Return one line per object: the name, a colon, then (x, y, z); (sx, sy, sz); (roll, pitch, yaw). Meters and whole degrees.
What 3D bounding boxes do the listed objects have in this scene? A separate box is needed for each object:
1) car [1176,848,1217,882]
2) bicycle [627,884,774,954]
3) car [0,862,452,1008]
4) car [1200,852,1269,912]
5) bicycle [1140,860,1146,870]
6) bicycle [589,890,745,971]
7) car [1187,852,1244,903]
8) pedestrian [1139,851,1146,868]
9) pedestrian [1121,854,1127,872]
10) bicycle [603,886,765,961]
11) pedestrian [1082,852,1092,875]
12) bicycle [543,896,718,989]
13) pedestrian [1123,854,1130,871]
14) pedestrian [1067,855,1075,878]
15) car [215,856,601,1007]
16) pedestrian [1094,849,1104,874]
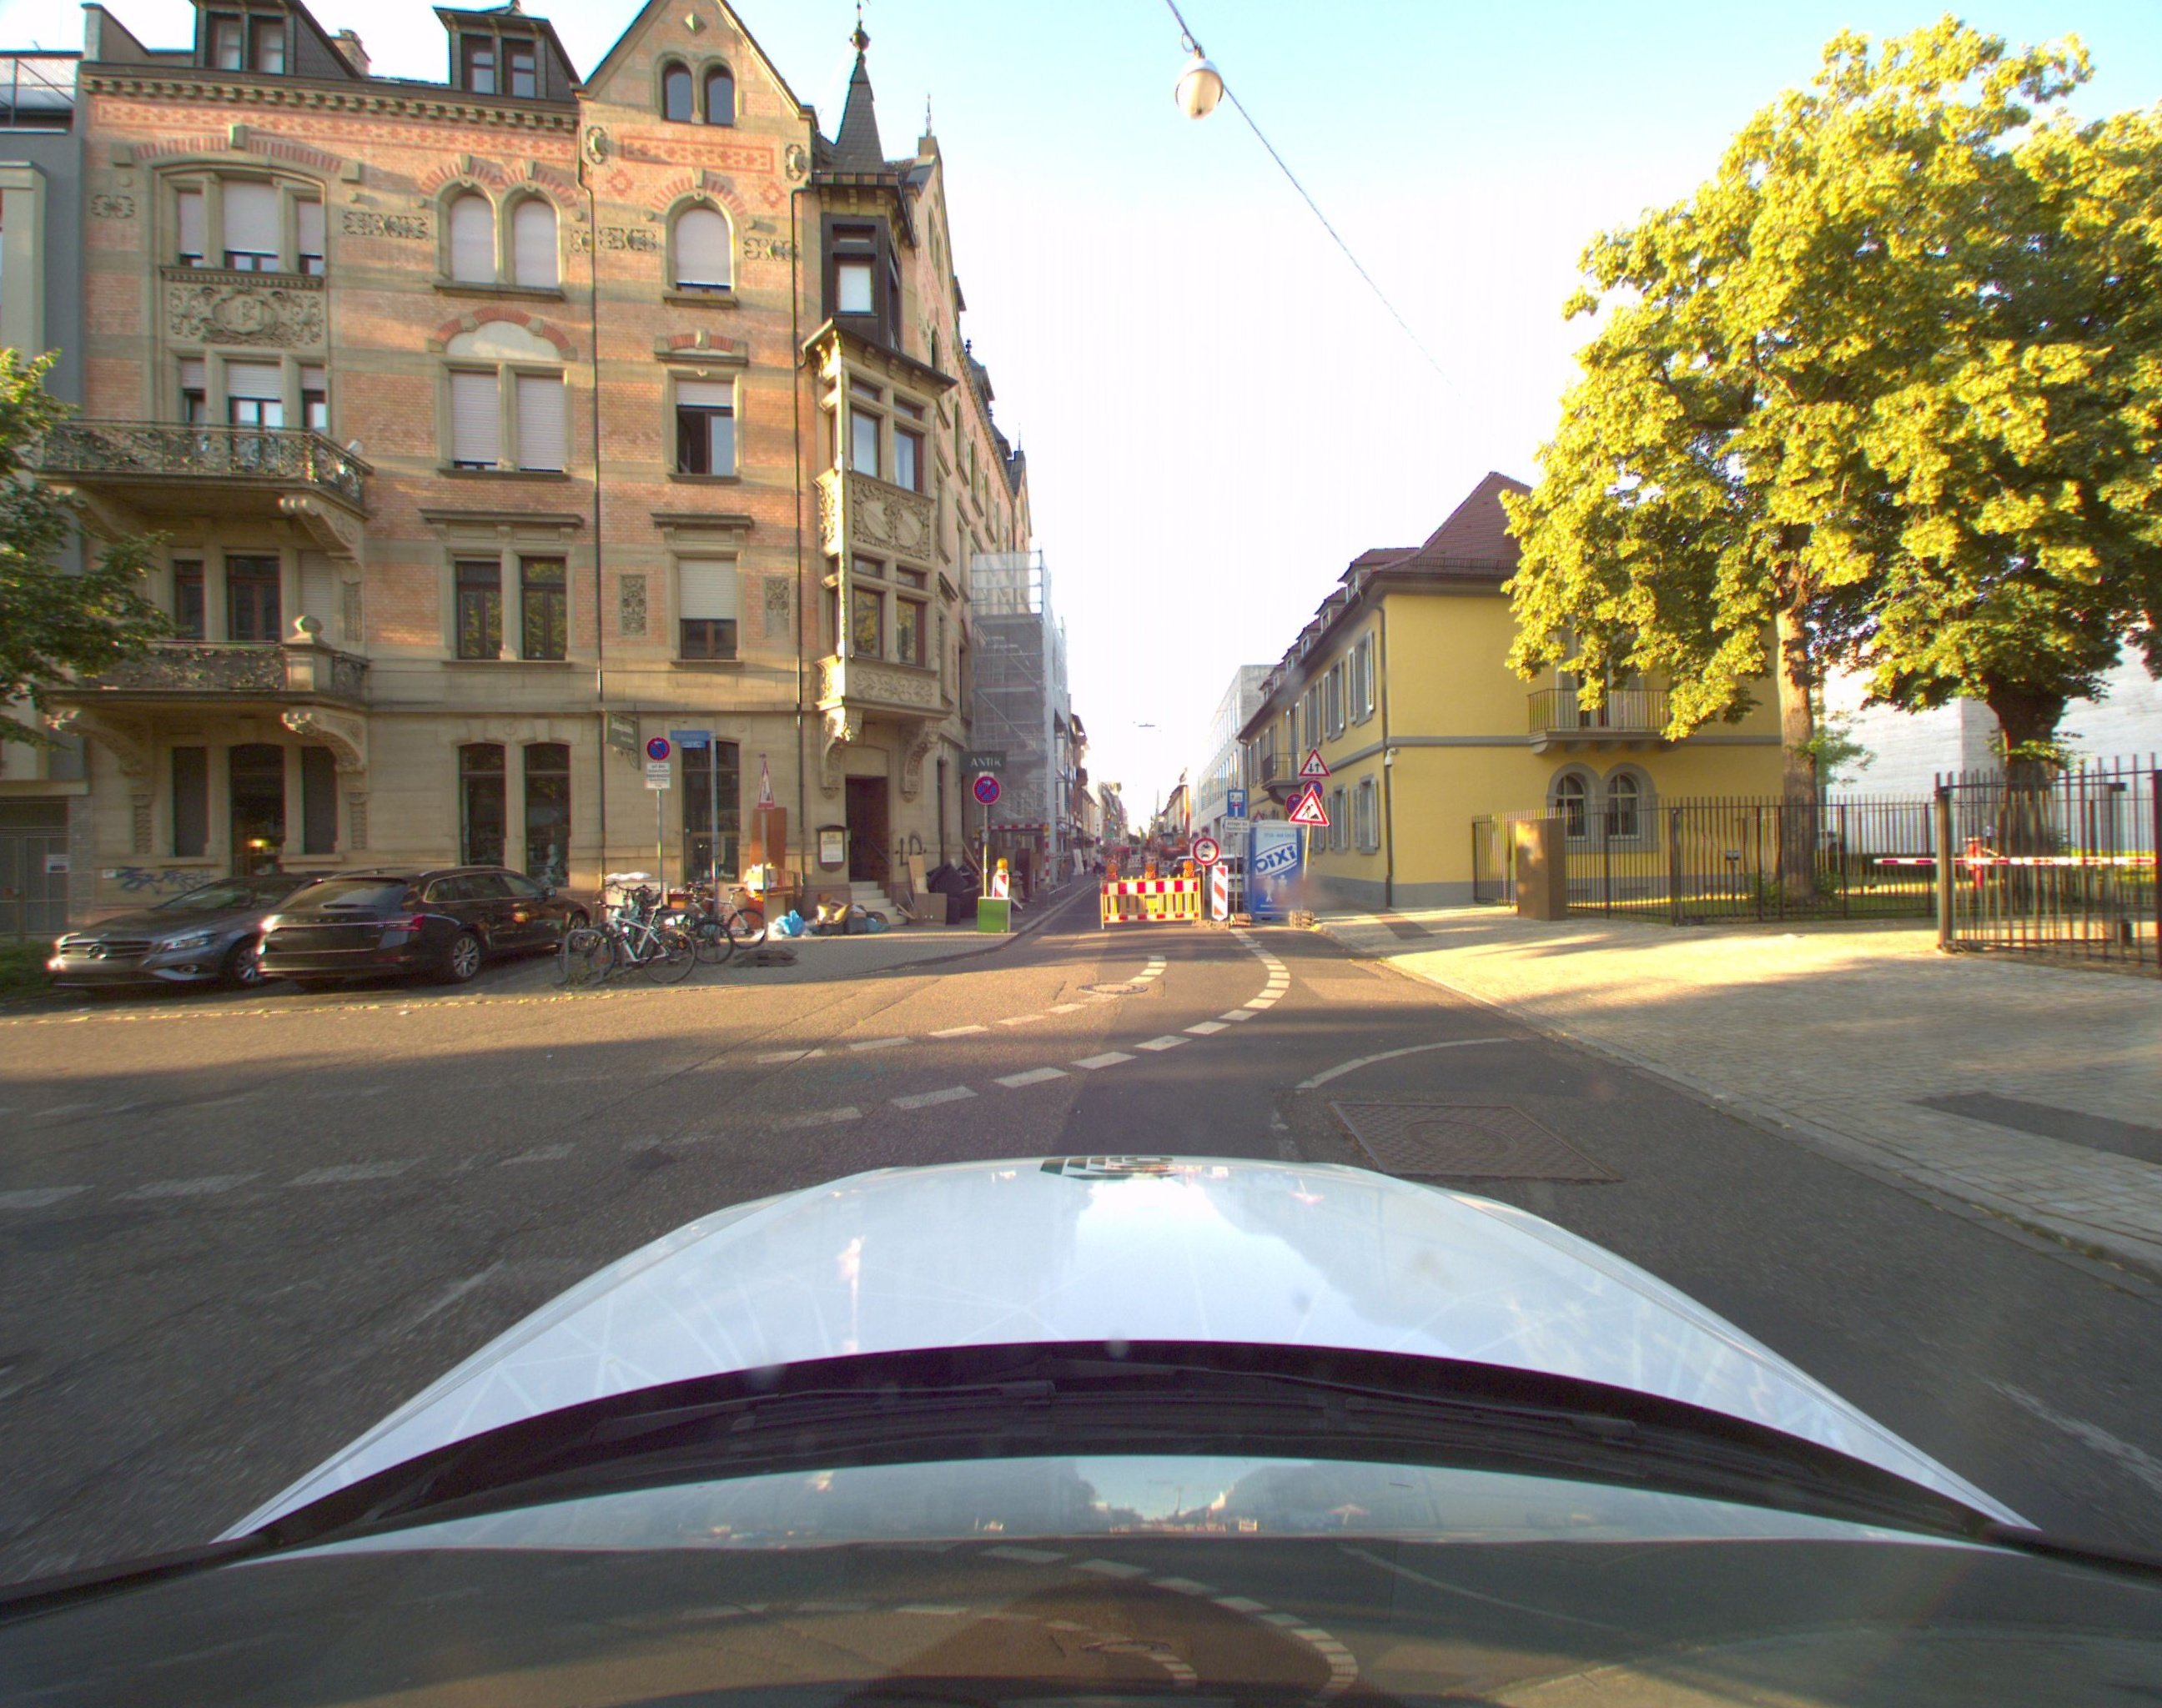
car: (5.478, 0.505, 38.921); (1.710, 1.520, 3.225); (-2, 0, 4)
bicycle: (-6.163, 1.045, 13.267); (2.102, 1.040, 0.464); (-1, 0, -8)
car: (-11.492, 0.942, 11.571); (1.859, 1.479, 4.532); (-2, 1, -6)
car: (4.164, 0.708, 22.436); (1.533, 1.520, 3.225); (0, 0, 4)
bicycle: (5.491, 0.959, 72.438); (0.502, 0.884, 1.478); (-1, 0, 4)
bicycle: (-5.815, 1.064, 11.526); (1.824, 1.013, 0.638); (-1, 0, -8)
car: (4.387, 0.709, 26.997); (1.533, 1.520, 3.984); (-2, 0, 5)
pedestrian: (5.472, 0.500, 72.327); (0.502, 1.461, 0.513); (-1, 0, 6)
pedestrian: (3.615, 0.776, 68.162); (0.502, 1.461, 0.513); (-1, 0, 4)
bicycle: (-6.026, 1.041, 12.466); (2.102, 1.013, 0.638); (-1, 0, -8)
pedestrian: (0.438, 0.691, 60.523); (0.673, 1.733, 0.700); (-1, -1, 1)
bicycle: (-5.637, 1.097, 10.259); (1.822, 1.047, 0.570); (-1, 0, -4)
pedestrian: (3.964, 0.746, 71.061); (0.501, 1.461, 0.514); (-1, 0, 10)
pedestrian: (-0.673, 0.838, 54.568); (0.339, 1.566, 0.423); (-1, -1, 26)
car: (-8.897, 0.868, 11.447); (1.902, 1.511, 4.533); (-2, 2, -6)
pedestrian: (1.249, 0.523, 56.378); (0.508, 1.764, 0.507); (-1, 0, -37)
